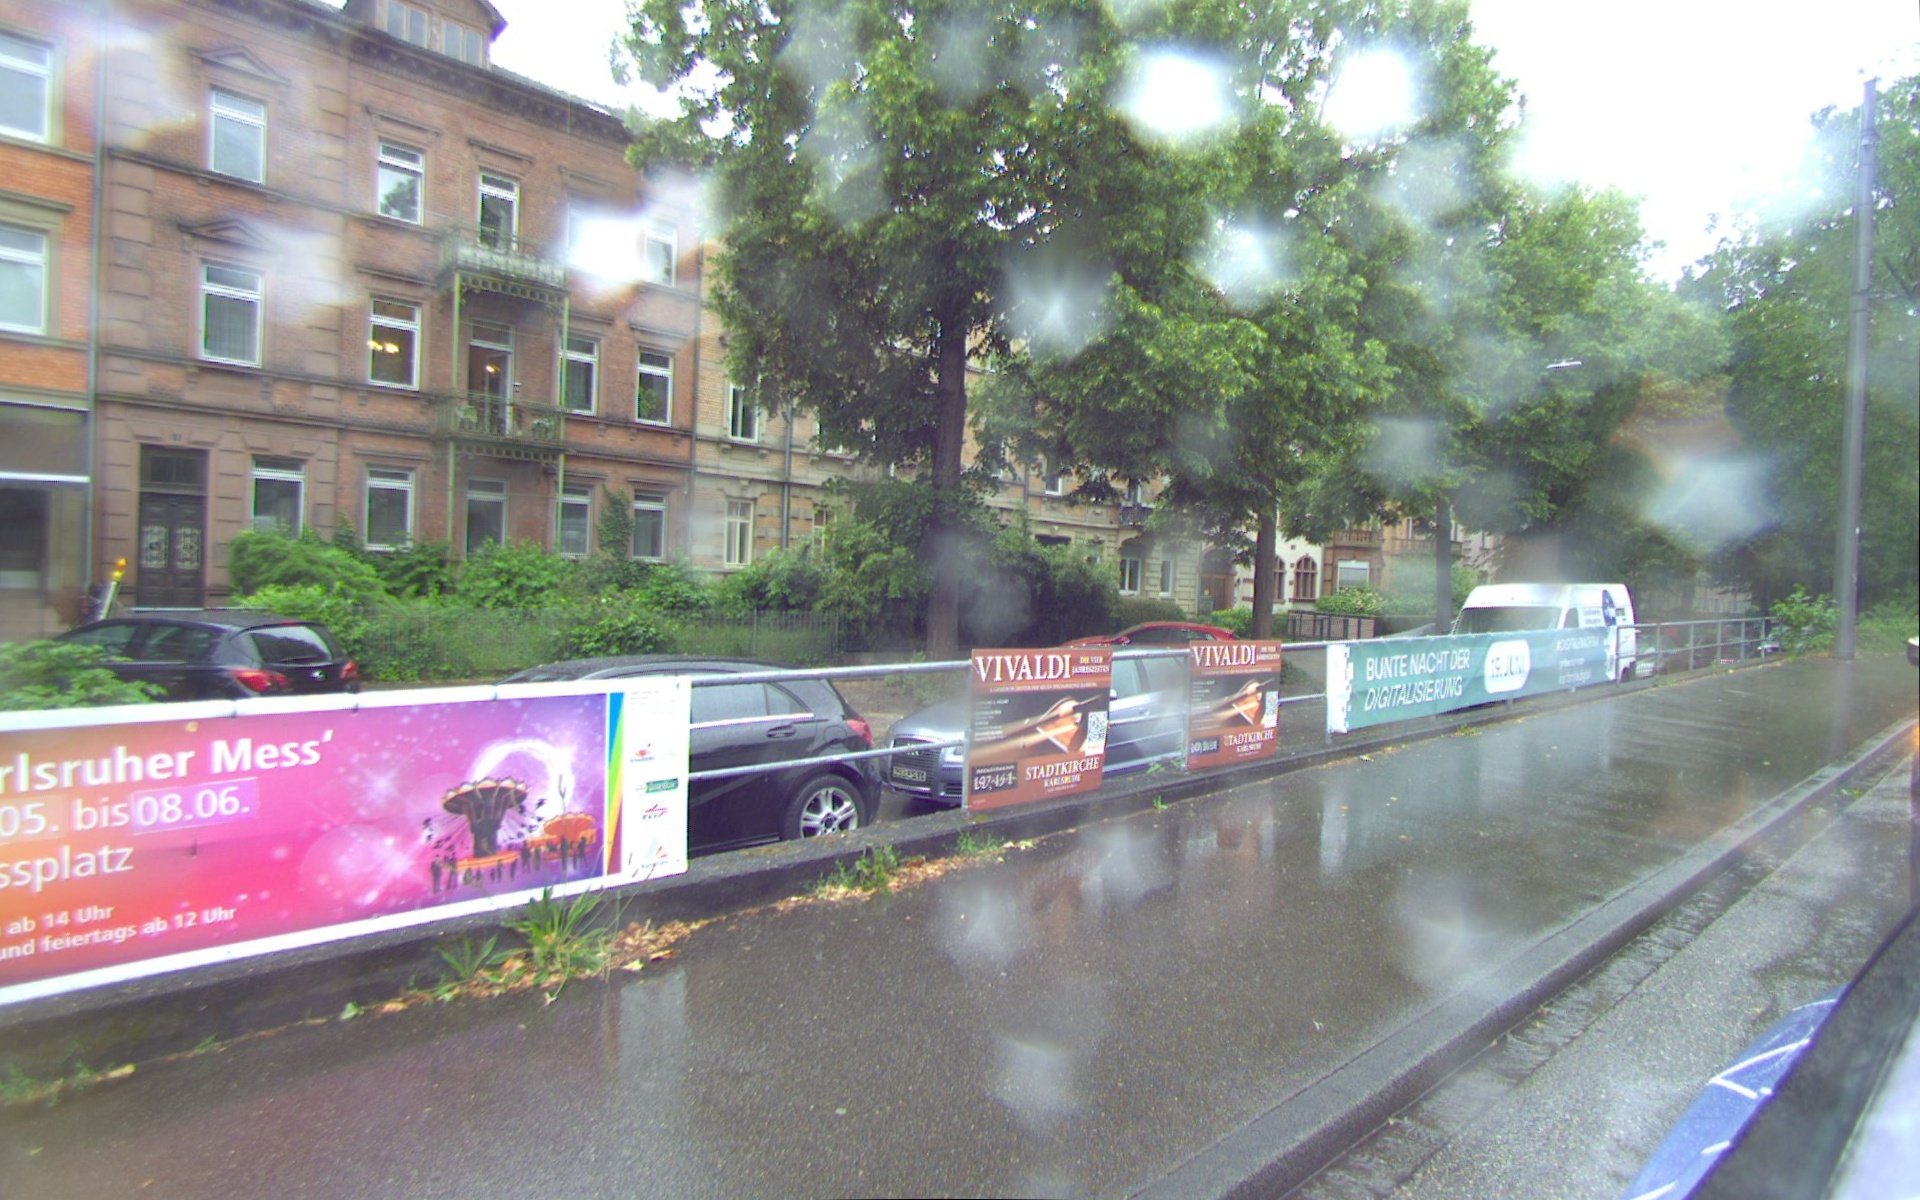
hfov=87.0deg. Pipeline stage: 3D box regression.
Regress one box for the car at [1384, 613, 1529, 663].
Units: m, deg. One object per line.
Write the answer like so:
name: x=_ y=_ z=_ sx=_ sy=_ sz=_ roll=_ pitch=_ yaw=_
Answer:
car: x=16.504 y=1.230 z=33.890 sx=4.214 sy=1.397 sz=1.679 roll=2 pitch=2 yaw=22

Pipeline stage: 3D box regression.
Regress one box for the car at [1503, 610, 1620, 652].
car: x=25.584 y=1.282 z=43.172 sx=3.947 sy=1.629 sz=1.815 roll=1 pitch=1 yaw=19

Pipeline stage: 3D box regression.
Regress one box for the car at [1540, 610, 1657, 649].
car: x=28.492 y=1.303 z=45.293 sx=3.942 sy=1.585 sz=1.991 roll=1 pitch=1 yaw=15

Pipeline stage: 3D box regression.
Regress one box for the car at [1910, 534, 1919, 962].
car: x=5.707 y=0.586 z=4.476 sx=3.612 sy=1.687 sz=1.755 roll=0 pitch=1 yaw=-39

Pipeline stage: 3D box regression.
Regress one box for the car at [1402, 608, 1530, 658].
car: x=17.904 y=1.139 z=36.034 sx=3.958 sy=1.523 sz=1.645 roll=2 pitch=2 yaw=25

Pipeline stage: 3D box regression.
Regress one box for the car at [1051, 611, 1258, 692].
car: x=4.384 y=1.093 z=22.729 sx=4.372 sy=1.471 sz=1.888 roll=2 pitch=1 yaw=18

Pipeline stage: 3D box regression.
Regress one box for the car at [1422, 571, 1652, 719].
car: x=11.358 y=0.731 z=19.665 sx=6.055 sy=2.451 sz=2.211 roll=0 pitch=0 yaw=-43

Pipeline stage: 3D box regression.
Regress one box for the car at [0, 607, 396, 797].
car: x=-8.575 y=0.978 z=11.006 sx=3.936 sy=1.735 sz=1.994 roll=0 pitch=1 yaw=11

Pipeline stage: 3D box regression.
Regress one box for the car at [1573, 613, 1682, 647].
car: x=32.064 y=1.420 z=48.730 sx=3.942 sy=1.482 sz=1.904 roll=1 pitch=1 yaw=15

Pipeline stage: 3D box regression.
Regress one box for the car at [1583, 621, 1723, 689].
car: x=16.690 y=1.238 z=24.294 sx=4.312 sy=1.370 sz=1.968 roll=0 pitch=0 yaw=-44

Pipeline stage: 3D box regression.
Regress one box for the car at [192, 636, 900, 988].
car: x=-2.449 y=1.031 z=6.520 sx=3.903 sy=1.417 sz=1.706 roll=0 pitch=1 yaw=-41

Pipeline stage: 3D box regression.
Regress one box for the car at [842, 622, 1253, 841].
car: x=0.990 y=1.055 z=9.775 sx=4.006 sy=1.559 sz=1.734 roll=0 pitch=0 yaw=-43
